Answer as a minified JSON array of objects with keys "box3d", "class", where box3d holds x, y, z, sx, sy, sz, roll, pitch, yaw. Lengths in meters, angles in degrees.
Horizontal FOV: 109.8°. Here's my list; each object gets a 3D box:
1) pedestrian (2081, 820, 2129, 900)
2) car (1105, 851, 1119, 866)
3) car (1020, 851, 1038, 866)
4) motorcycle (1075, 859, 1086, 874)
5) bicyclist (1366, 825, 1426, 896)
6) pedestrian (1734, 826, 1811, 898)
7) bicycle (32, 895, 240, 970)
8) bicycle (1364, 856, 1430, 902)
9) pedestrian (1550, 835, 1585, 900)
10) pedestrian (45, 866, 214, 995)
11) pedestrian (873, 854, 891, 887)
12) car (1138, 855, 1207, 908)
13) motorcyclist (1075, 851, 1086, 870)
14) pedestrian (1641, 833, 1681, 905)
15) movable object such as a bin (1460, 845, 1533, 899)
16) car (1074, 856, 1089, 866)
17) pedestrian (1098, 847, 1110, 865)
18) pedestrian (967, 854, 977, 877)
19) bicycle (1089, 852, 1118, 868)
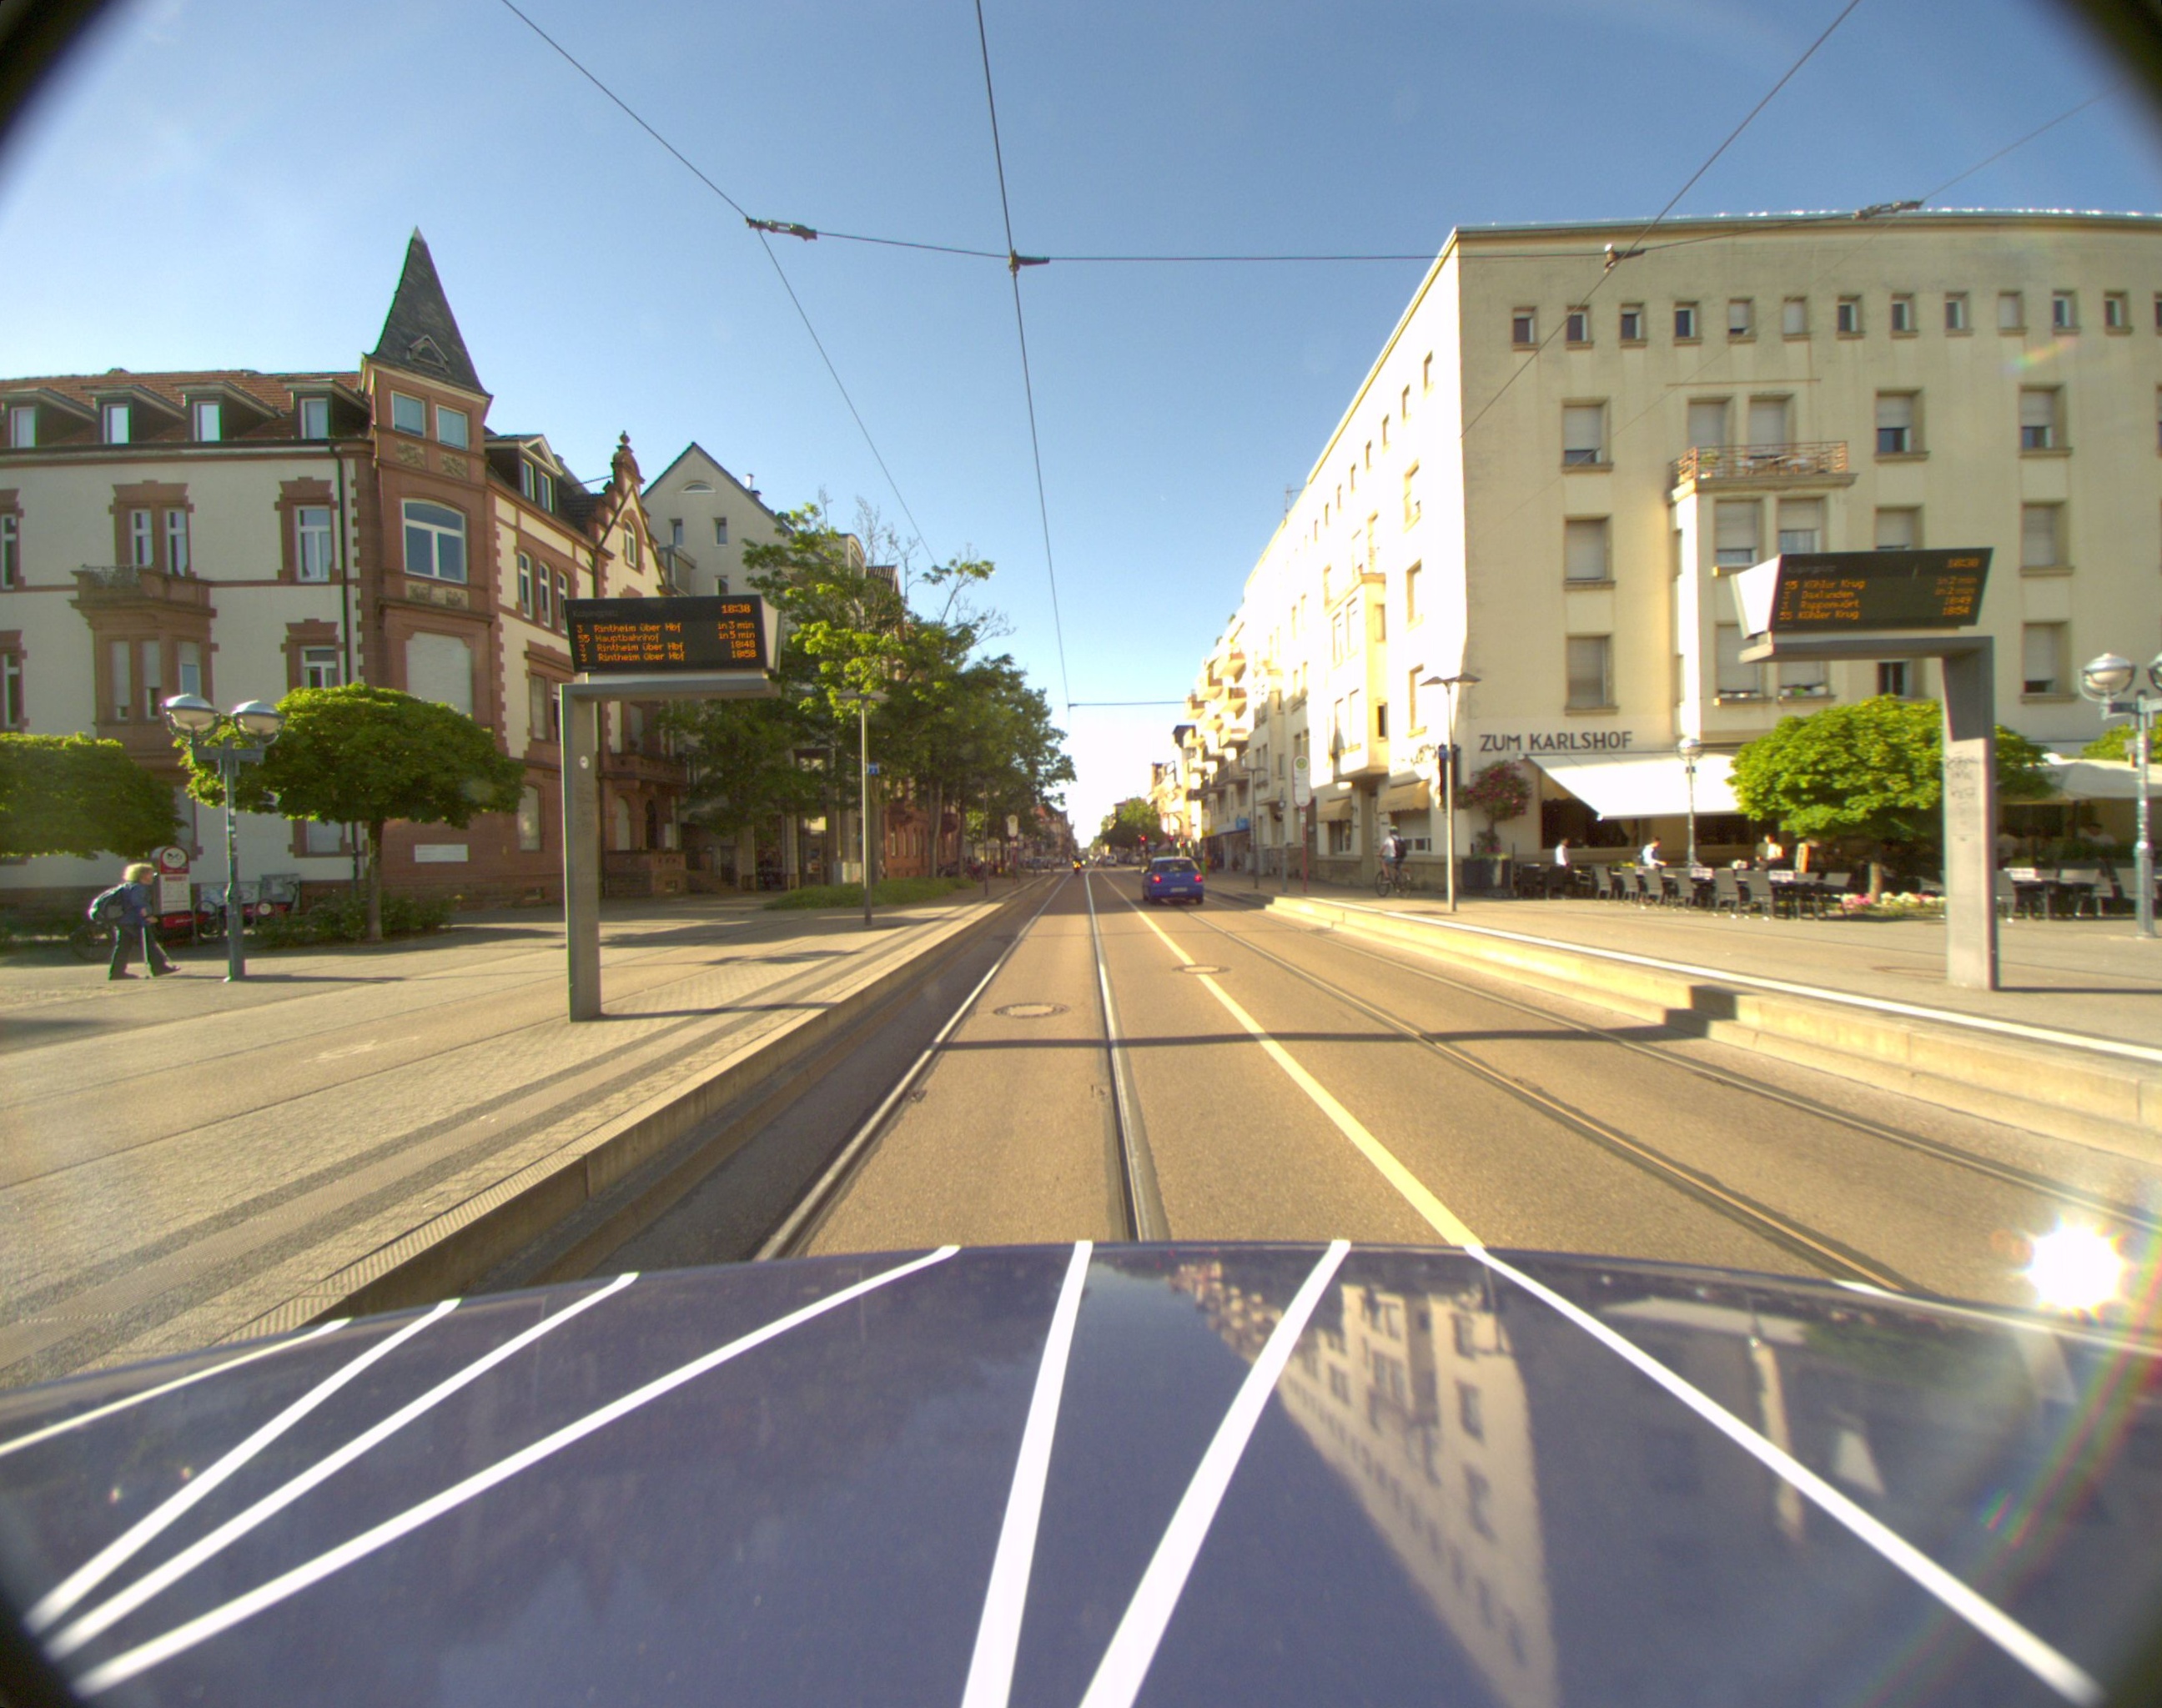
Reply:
[{"box3d":[23.829,0.132,17.675,0.578,1.813,0.647,-2,1,-36],"class":"pedestrian"},{"box3d":[4.470,0.610,109.151,1.877,2.105,4.000,-2,1,2],"class":"car"},{"box3d":[-7.227,0.625,105.875,1.998,2.002,4.001,-1,0,4],"class":"car"},{"box3d":[-0.044,0.980,60.206,0.799,1.090,2.429,-1,0,1],"class":"motorcycle"},{"box3d":[8.241,0.168,19.931,1.007,1.783,1.094,-2,1,-8],"class":"bicyclist"},{"box3d":[15.988,0.204,17.582,1.066,1.634,0.757,0,-2,-4],"class":"pedestrian"},{"box3d":[-18.162,1.450,14.762,0.790,1.062,2.804,-2,2,-8],"class":"bicycle"},{"box3d":[8.272,0.630,19.988,0.714,1.119,2.034,-2,0,-6],"class":"bicycle"},{"box3d":[12.579,0.366,19.676,0.672,1.634,0.752,-1,-2,27],"class":"pedestrian"},{"box3d":[-13.267,1.026,10.647,1.070,1.659,0.956,-2,1,-12],"class":"pedestrian"},{"box3d":[-10.624,0.874,40.532,0.742,1.725,0.877,-2,1,-6],"class":"pedestrian"},{"box3d":[2.828,0.816,24.256,1.671,1.479,4.000,-2,0,0],"class":"car"},{"box3d":[-0.067,0.509,60.103,0.821,1.466,1.114,-1,1,1],"class":"motorcyclist"},{"box3d":[13.670,0.365,17.914,0.672,1.634,0.678,-2,-3,40],"class":"pedestrian"},{"box3d":[11.165,0.464,20.450,1.319,1.392,1.128,-1,1,-1],"class":"movable object such as a bin"},{"box3d":[0.094,1.043,107.747,1.998,1.318,3.863,-1,0,1],"class":"car"},{"box3d":[2.621,0.216,87.463,1.022,2.002,1.176,-2,1,-13],"class":"pedestrian"},{"box3d":[-9.595,0.995,66.850,0.653,2.002,0.559,-1,1,3],"class":"pedestrian"},{"box3d":[2.572,0.677,87.504,3.109,1.719,1.227,-1,1,-16],"class":"bicycle"}]
